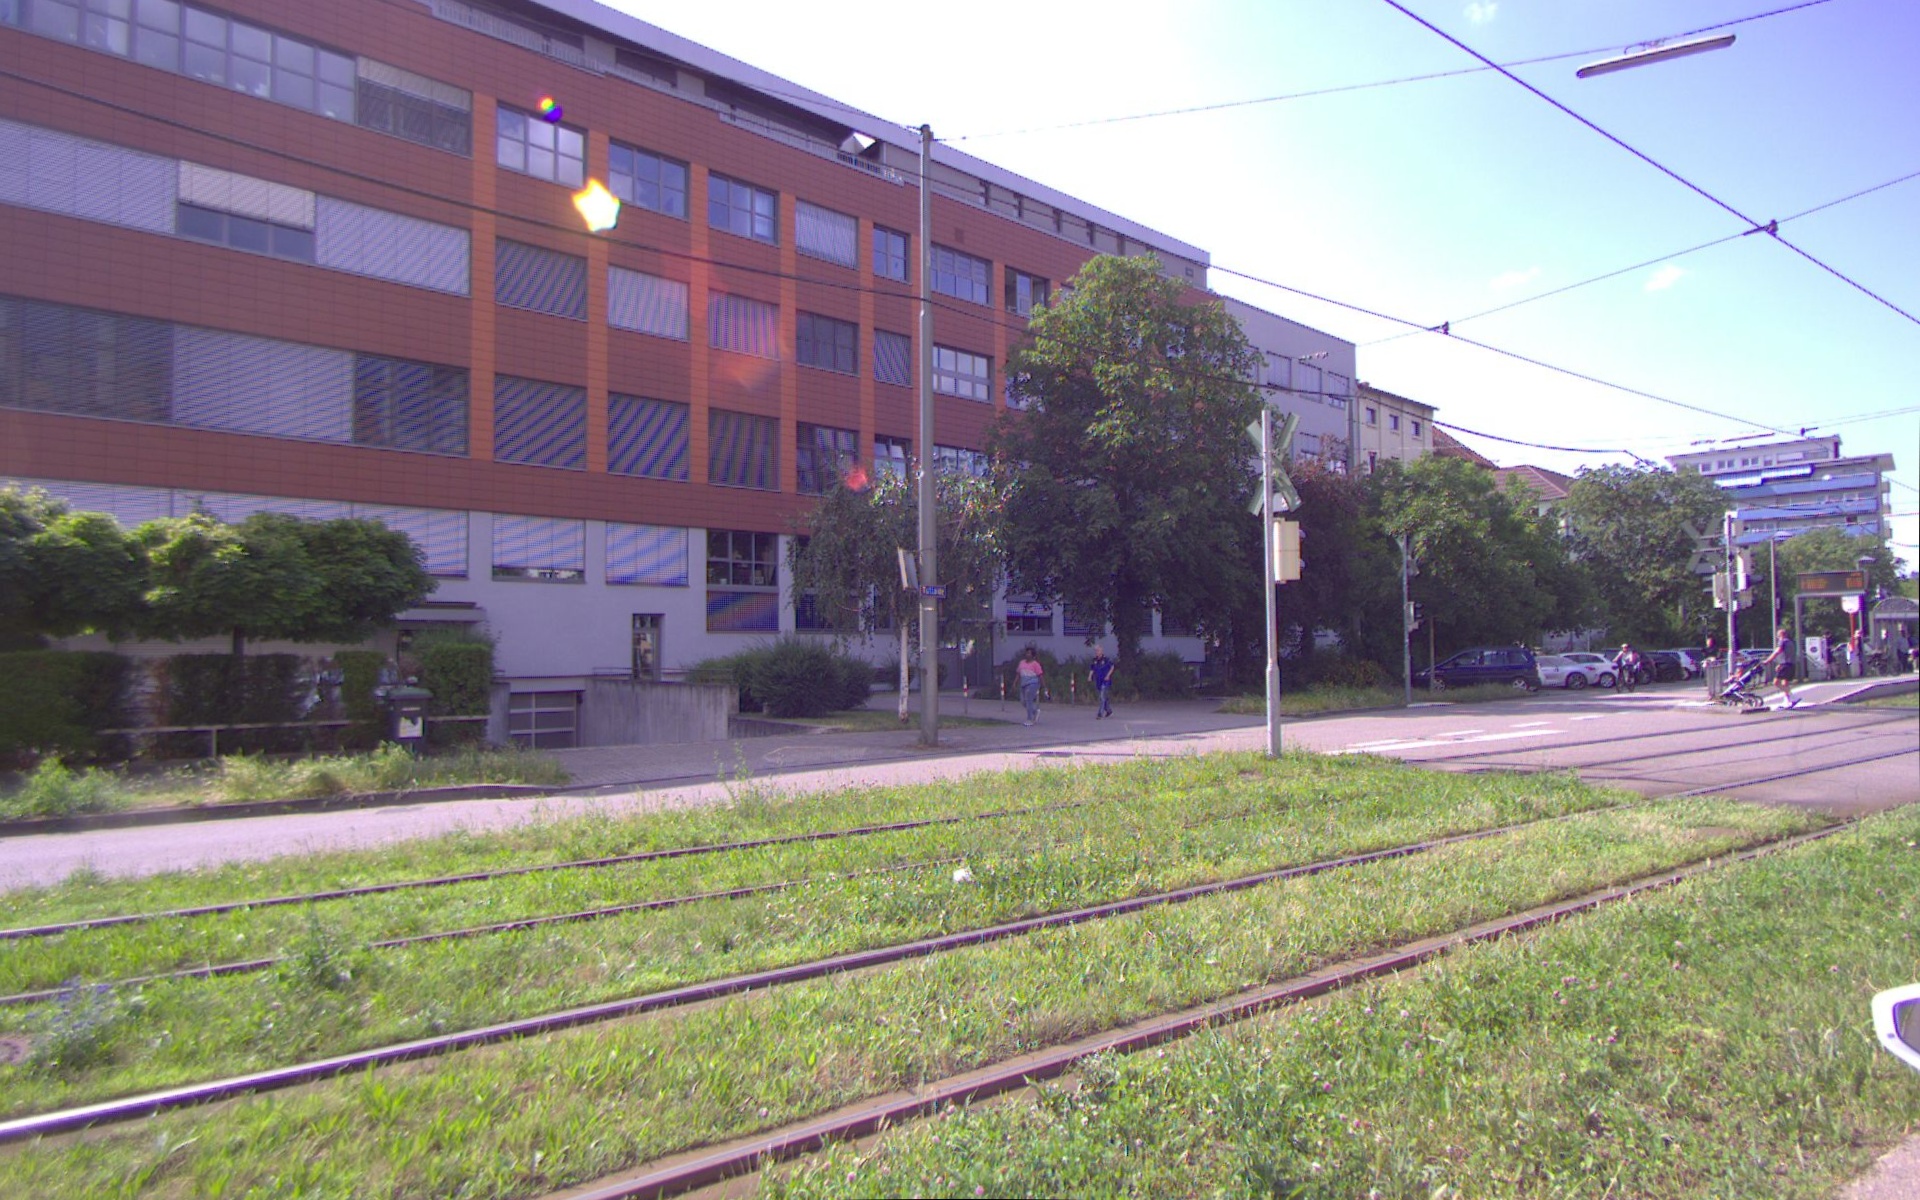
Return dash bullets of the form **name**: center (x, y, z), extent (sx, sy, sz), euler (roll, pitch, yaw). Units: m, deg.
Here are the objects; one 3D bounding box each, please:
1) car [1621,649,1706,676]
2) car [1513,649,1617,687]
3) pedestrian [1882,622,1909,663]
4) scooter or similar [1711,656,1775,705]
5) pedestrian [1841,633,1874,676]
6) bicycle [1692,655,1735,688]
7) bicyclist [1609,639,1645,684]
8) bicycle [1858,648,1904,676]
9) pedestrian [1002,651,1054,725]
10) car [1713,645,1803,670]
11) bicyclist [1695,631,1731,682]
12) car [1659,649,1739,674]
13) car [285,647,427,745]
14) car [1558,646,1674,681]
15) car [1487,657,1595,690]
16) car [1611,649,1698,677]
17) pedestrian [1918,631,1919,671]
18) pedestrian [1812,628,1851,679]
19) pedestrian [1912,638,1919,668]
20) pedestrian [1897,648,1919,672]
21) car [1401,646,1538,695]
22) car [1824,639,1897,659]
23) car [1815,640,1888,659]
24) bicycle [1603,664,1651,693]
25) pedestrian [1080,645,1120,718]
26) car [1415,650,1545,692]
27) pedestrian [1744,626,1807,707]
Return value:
- **car**: center (35.803, 3.195, 51.165), extent (3.181, 1.326, 1.457), euler (-1, -3, 6)
- **car**: center (25.061, 2.816, 41.725), extent (3.320, 1.524, 1.546), euler (-1, -3, 14)
- **pedestrian**: center (39.290, 1.785, 42.205), extent (0.650, 1.714, 0.650), euler (1, -4, -38)
- **scooter or similar**: center (18.003, 1.854, 23.108), extent (0.790, 1.078, 0.947), euler (2, -5, -39)
- **pedestrian**: center (34.039, 2.065, 38.095), extent (0.678, 1.589, 0.660), euler (1, -5, -31)
- **bicycle**: center (31.215, 2.956, 41.594), extent (1.142, 1.193, 1.776), euler (-5, -2, 44)
- **bicyclist**: center (24.057, 2.214, 36.235), extent (0.855, 1.602, 0.780), euler (1, -4, -35)
- **bicycle**: center (34.285, 2.309, 37.394), extent (1.749, 0.987, 0.683), euler (1, -5, -29)
- **pedestrian**: center (1.492, 1.920, 22.029), extent (0.879, 1.594, 0.742), euler (3, -4, -30)
- **car**: center (48.538, 3.509, 61.170), extent (3.919, 1.385, 1.718), euler (-2, -4, 10)
- **bicyclist**: center (31.211, 2.333, 41.617), extent (0.938, 2.040, 1.567), euler (-3, -4, 44)
- **car**: center (40.528, 3.355, 55.138), extent (3.181, 1.326, 1.457), euler (-1, -3, 6)
- **car**: center (-11.398, 1.713, 18.833), extent (1.980, 1.616, 3.961), euler (1, -4, -35)
- **car**: center (29.392, 2.860, 45.118), extent (3.919, 1.475, 1.692), euler (-2, -4, 11)
- **car**: center (22.843, 2.881, 39.576), extent (3.320, 1.252, 1.546), euler (-1, -3, 12)
- **car**: center (33.981, 3.068, 49.213), extent (3.181, 1.326, 1.457), euler (-1, -3, 3)
- **pedestrian**: center (43.424, 2.272, 44.951), extent (0.631, 1.789, 0.601), euler (1, -3, -29)
- **pedestrian**: center (30.143, 1.851, 34.760), extent (0.654, 1.749, 0.715), euler (-1, -3, 3)
- **pedestrian**: center (47.820, 2.636, 50.052), extent (0.482, 1.470, 0.461), euler (-4, -4, 42)
- **pedestrian**: center (40.570, 2.551, 42.701), extent (0.790, 1.001, 0.918), euler (4, -6, -36)
- **car**: center (18.272, 2.538, 36.226), extent (4.049, 1.662, 1.727), euler (-1, -3, 12)
- **car**: center (71.921, 3.922, 80.248), extent (3.920, 1.466, 1.729), euler (-2, -3, 17)
- **car**: center (68.115, 3.814, 76.783), extent (3.919, 1.403, 1.641), euler (-1, -3, 6)
- **bicycle**: center (24.027, 2.808, 36.163), extent (2.157, 0.983, 0.676), euler (1, -4, -35)
- **pedestrian**: center (3.291, 1.903, 23.631), extent (0.738, 1.678, 0.554), euler (1, -4, -30)
- **car**: center (19.708, 2.696, 38.232), extent (4.049, 1.518, 1.727), euler (-1, -3, 12)
- **pedestrian**: center (18.529, 1.508, 22.833), extent (0.995, 1.798, 0.864), euler (2, -4, -40)
